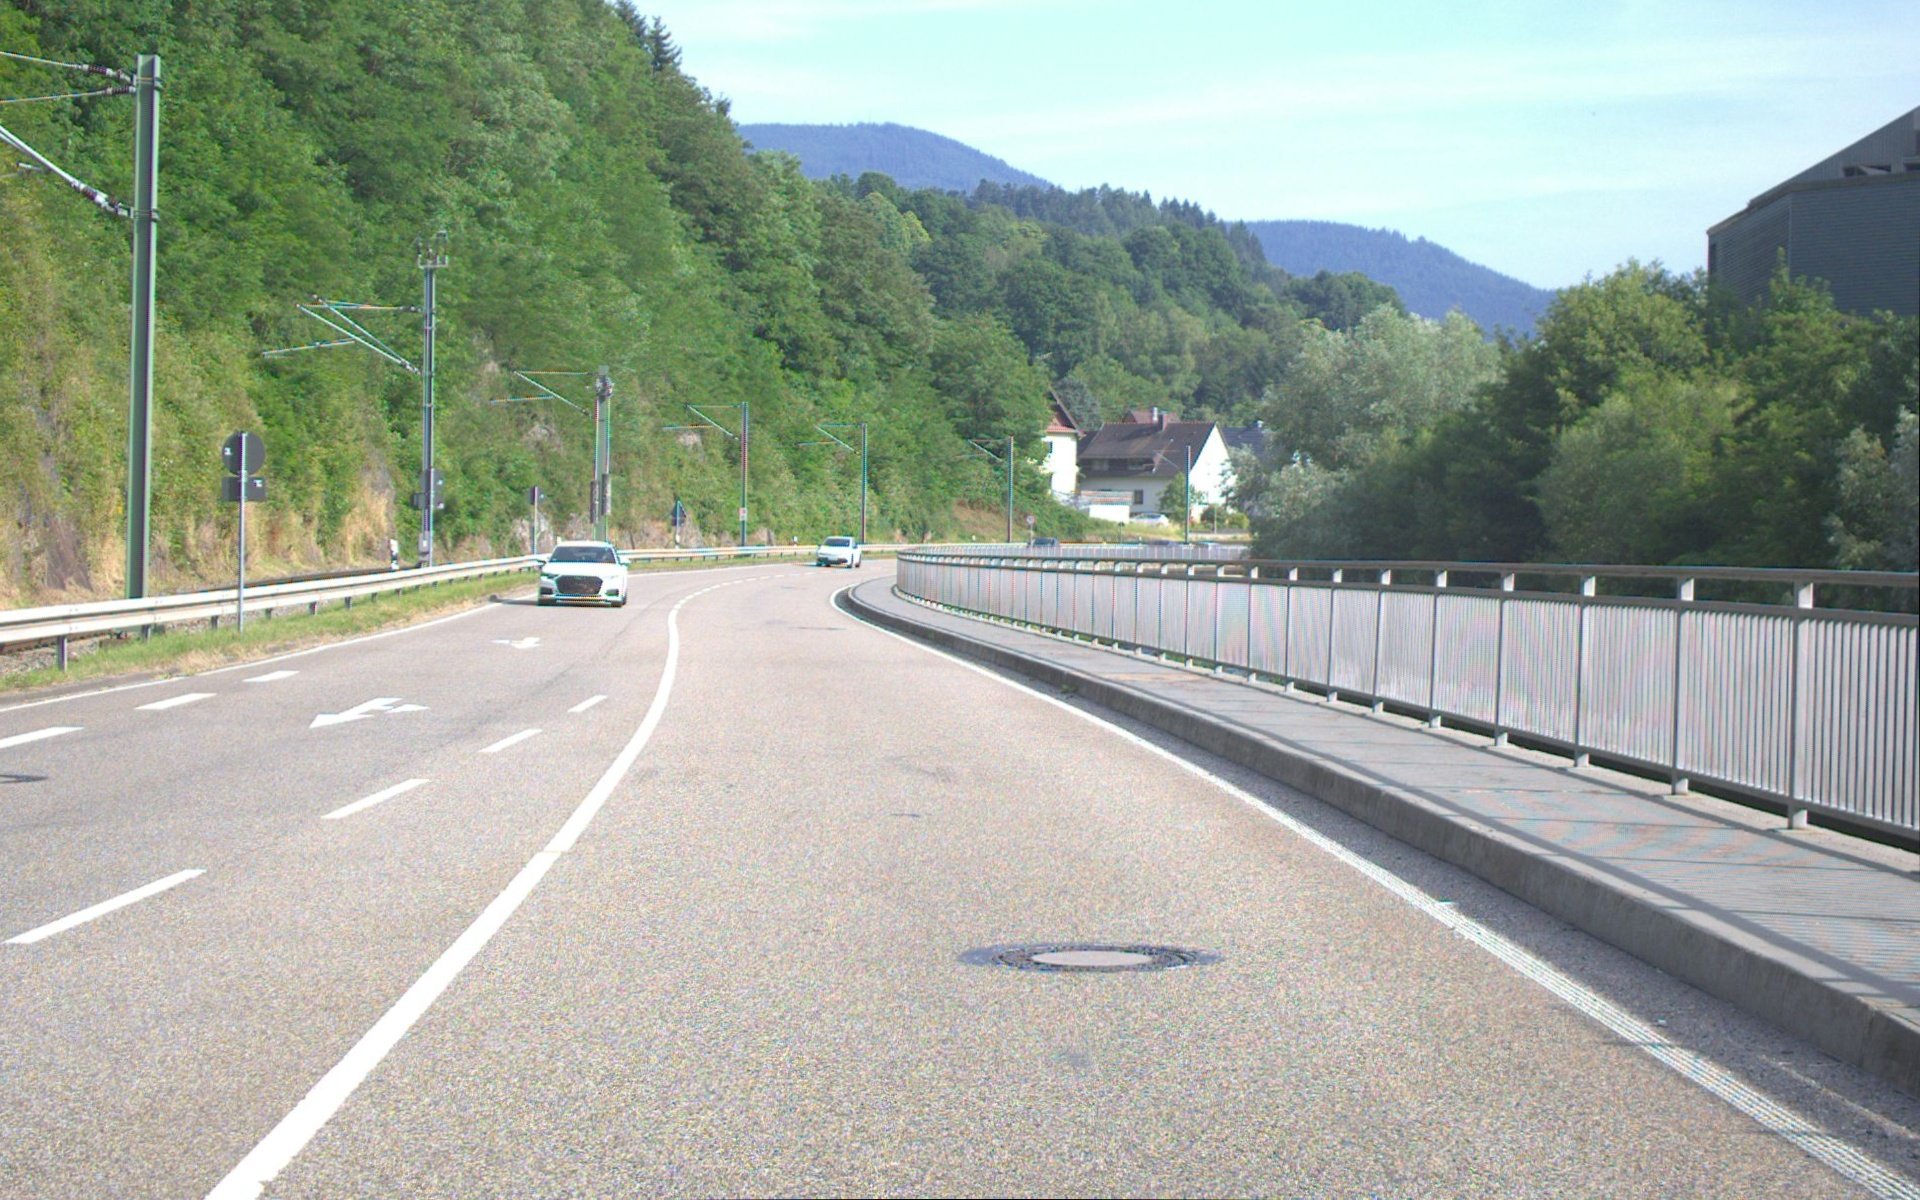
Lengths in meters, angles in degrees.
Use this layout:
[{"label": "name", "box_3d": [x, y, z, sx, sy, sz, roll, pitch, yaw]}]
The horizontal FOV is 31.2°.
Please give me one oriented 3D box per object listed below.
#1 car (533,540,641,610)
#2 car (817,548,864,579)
[{"label": "car", "box_3d": [-8.444, -0.597, 78.200, 2.063, 1.434, 4.687, 2, 1, -2]}, {"label": "car", "box_3d": [-5.961, -1.841, 172.362, 1.847, 1.539, 4.603, 0, 1, 5]}]
